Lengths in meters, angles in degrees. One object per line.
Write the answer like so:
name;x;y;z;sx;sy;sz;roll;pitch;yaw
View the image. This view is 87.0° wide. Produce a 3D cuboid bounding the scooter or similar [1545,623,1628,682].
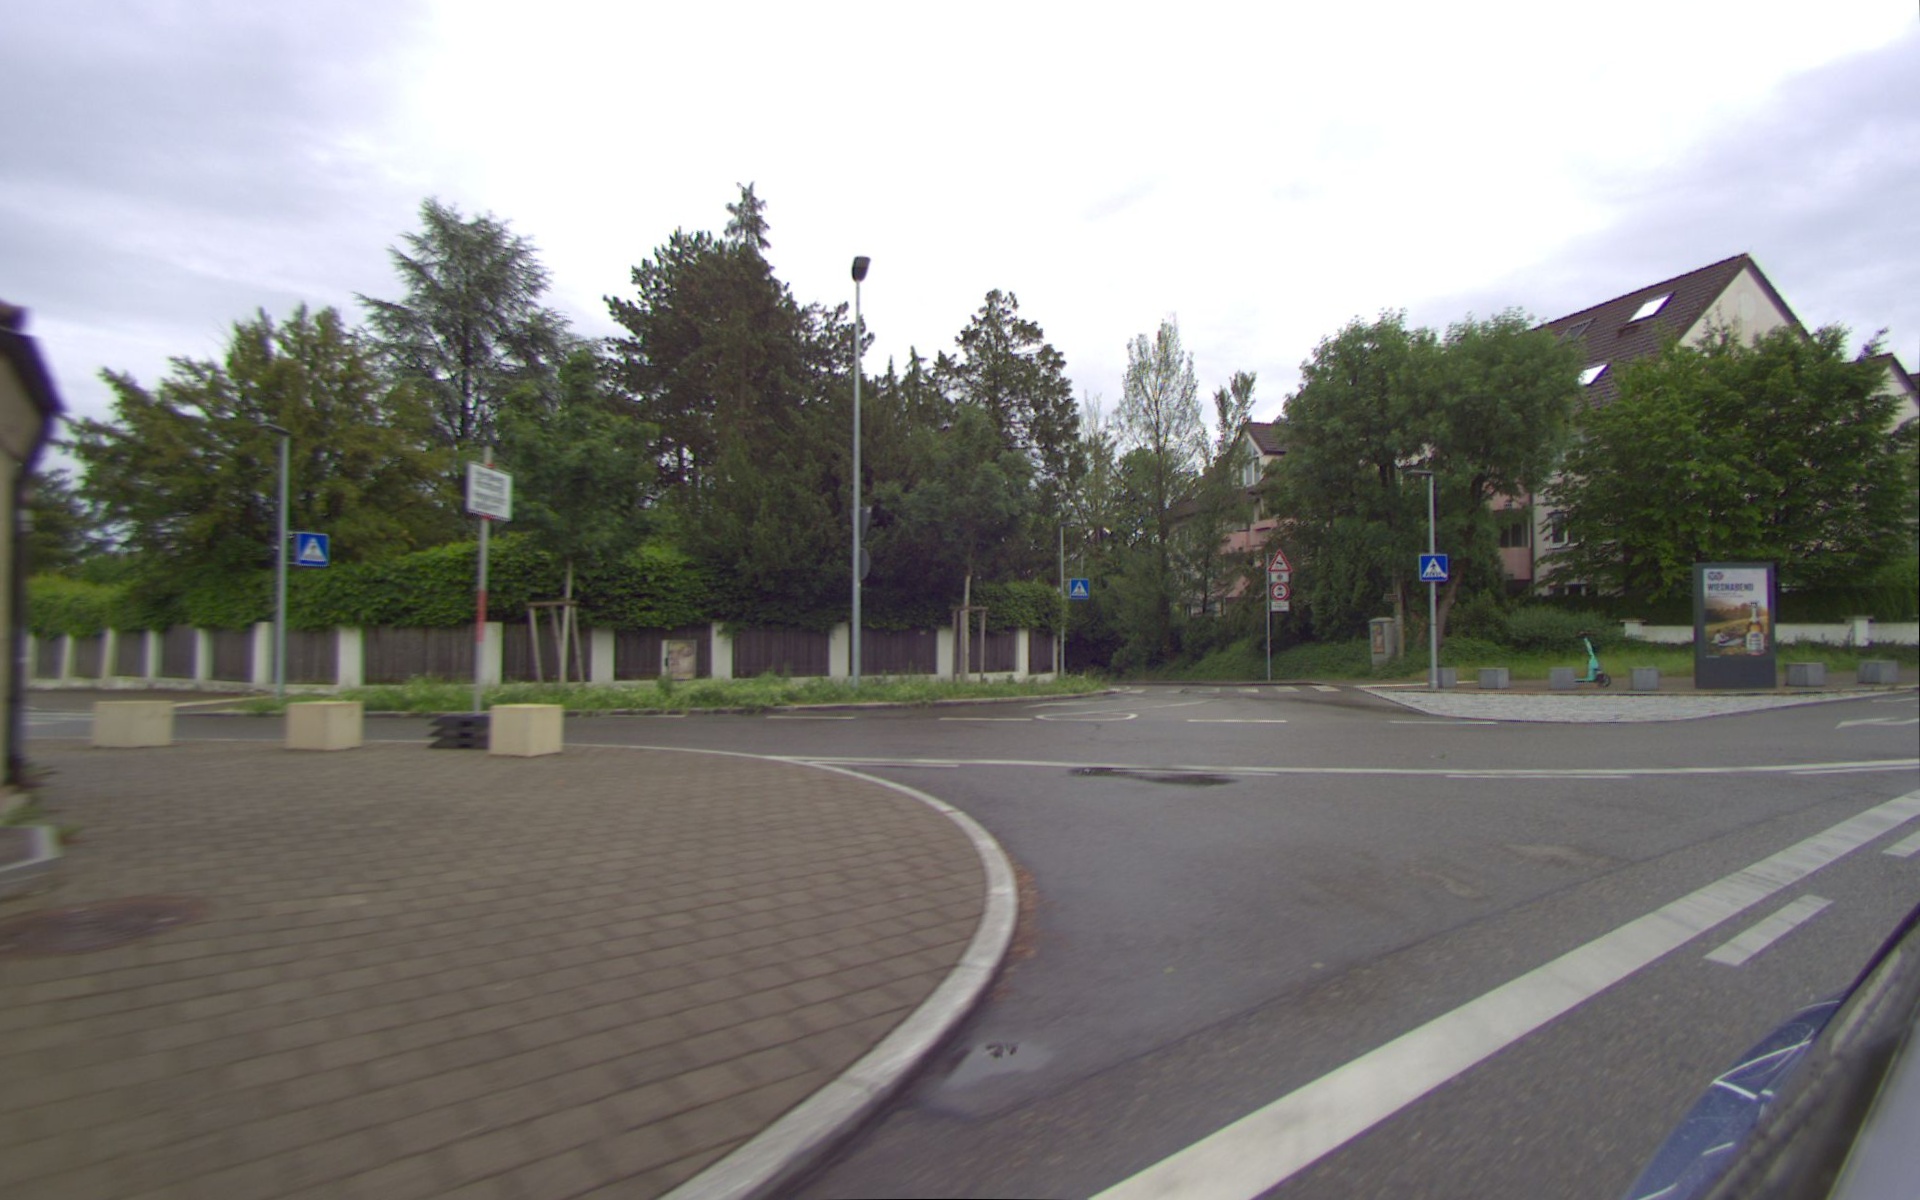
scooter or similar;13.433;1.137;21.725;0.514;1.223;1.353;0;-4;-29
